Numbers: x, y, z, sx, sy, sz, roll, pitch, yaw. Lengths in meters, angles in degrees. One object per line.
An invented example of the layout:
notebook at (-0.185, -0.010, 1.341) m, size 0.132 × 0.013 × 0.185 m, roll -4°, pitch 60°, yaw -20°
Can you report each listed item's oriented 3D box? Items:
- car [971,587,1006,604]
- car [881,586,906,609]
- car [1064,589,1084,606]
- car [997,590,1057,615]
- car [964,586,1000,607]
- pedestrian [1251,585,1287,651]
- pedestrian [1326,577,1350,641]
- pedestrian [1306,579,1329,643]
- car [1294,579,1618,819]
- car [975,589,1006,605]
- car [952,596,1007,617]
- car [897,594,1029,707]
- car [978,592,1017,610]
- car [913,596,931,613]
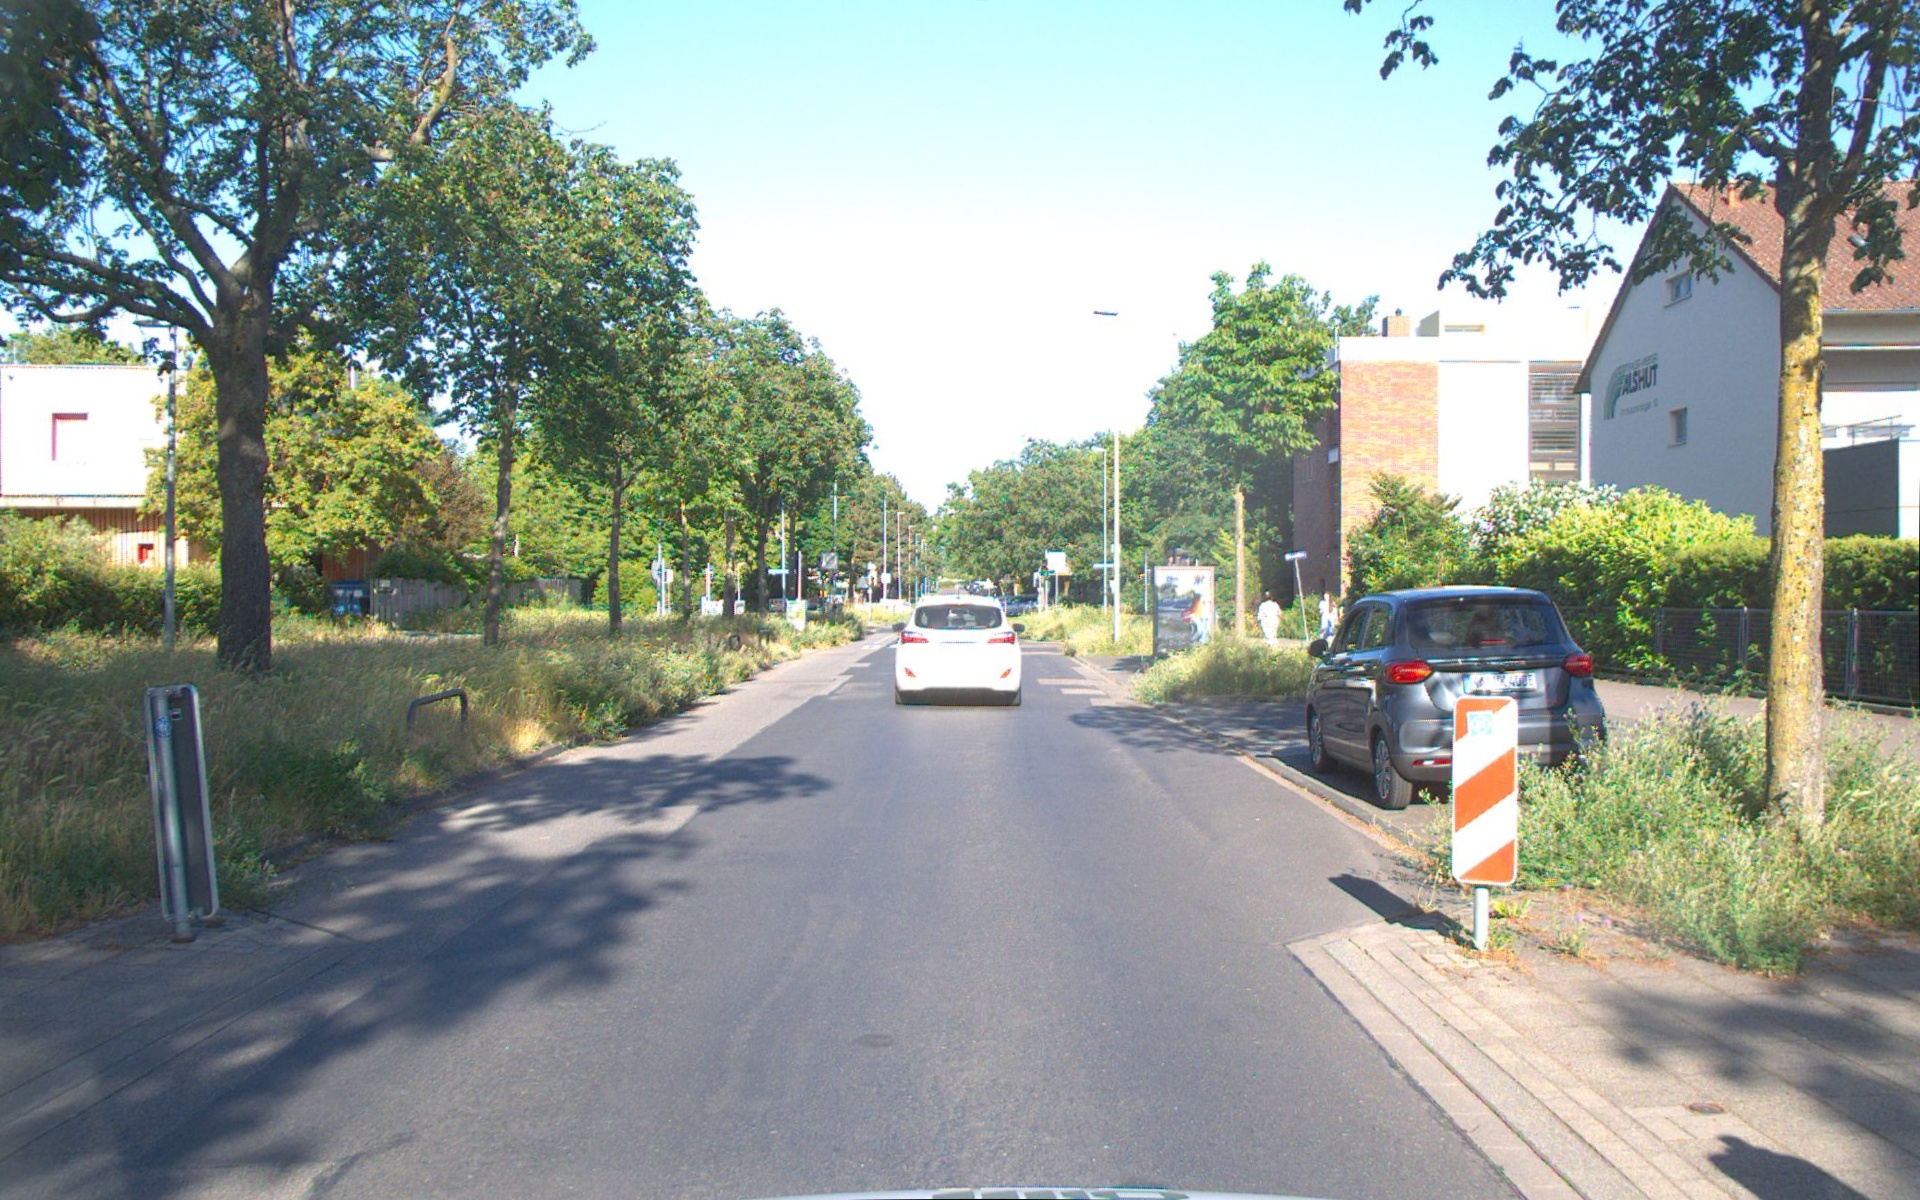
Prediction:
car at (3.409, -0.537, 201.185) m, size 4.214 × 1.941 × 1.863 m, roll 1°, pitch 0°, yaw 0°
car at (-5.867, -0.243, 145.893) m, size 1.953 × 1.847 × 4.001 m, roll 1°, pitch 2°, yaw 0°
car at (12.808, -0.288, 185.814) m, size 1.953 × 1.847 × 4.000 m, roll 1°, pitch 0°, yaw 0°
car at (4.956, 0.184, 121.848) m, size 4.405 × 1.814 × 1.855 m, roll 0°, pitch 0°, yaw 2°
car at (2.269, -0.405, 173.859) m, size 3.741 × 2.135 × 1.863 m, roll 1°, pitch 0°, yaw 0°
pedestrian at (8.763, 0.509, 46.868) m, size 0.881 × 1.853 × 0.736 m, roll 1°, pitch -1°, yaw 20°
pedestrian at (10.456, 0.247, 45.686) m, size 0.593 × 1.763 × 0.640 m, roll 1°, pitch -1°, yaw 16°
pedestrian at (9.910, 0.299, 45.836) m, size 0.542 × 1.763 × 0.661 m, roll 1°, pitch -1°, yaw 16°
car at (3.819, 0.681, 13.324) m, size 1.463 × 1.601 × 3.600 m, roll -3°, pitch 0°, yaw 0°
car at (3.641, -0.378, 198.037) m, size 3.741 × 1.798 × 1.863 m, roll 1°, pitch 0°, yaw 0°
car at (1.568, 0.539, 133.635) m, size 4.405 × 1.658 × 1.855 m, roll 0°, pitch 0°, yaw 2°
car at (0.034, 0.667, 23.959) m, size 1.753 × 1.489 × 3.963 m, roll 0°, pitch 0°, yaw 0°
car at (3.724, 0.089, 163.827) m, size 3.741 × 1.713 × 1.863 m, roll 1°, pitch 0°, yaw 0°
car at (-4.469, 0.504, 194.123) m, size 1.953 × 1.847 × 4.000 m, roll 1°, pitch 1°, yaw 0°
